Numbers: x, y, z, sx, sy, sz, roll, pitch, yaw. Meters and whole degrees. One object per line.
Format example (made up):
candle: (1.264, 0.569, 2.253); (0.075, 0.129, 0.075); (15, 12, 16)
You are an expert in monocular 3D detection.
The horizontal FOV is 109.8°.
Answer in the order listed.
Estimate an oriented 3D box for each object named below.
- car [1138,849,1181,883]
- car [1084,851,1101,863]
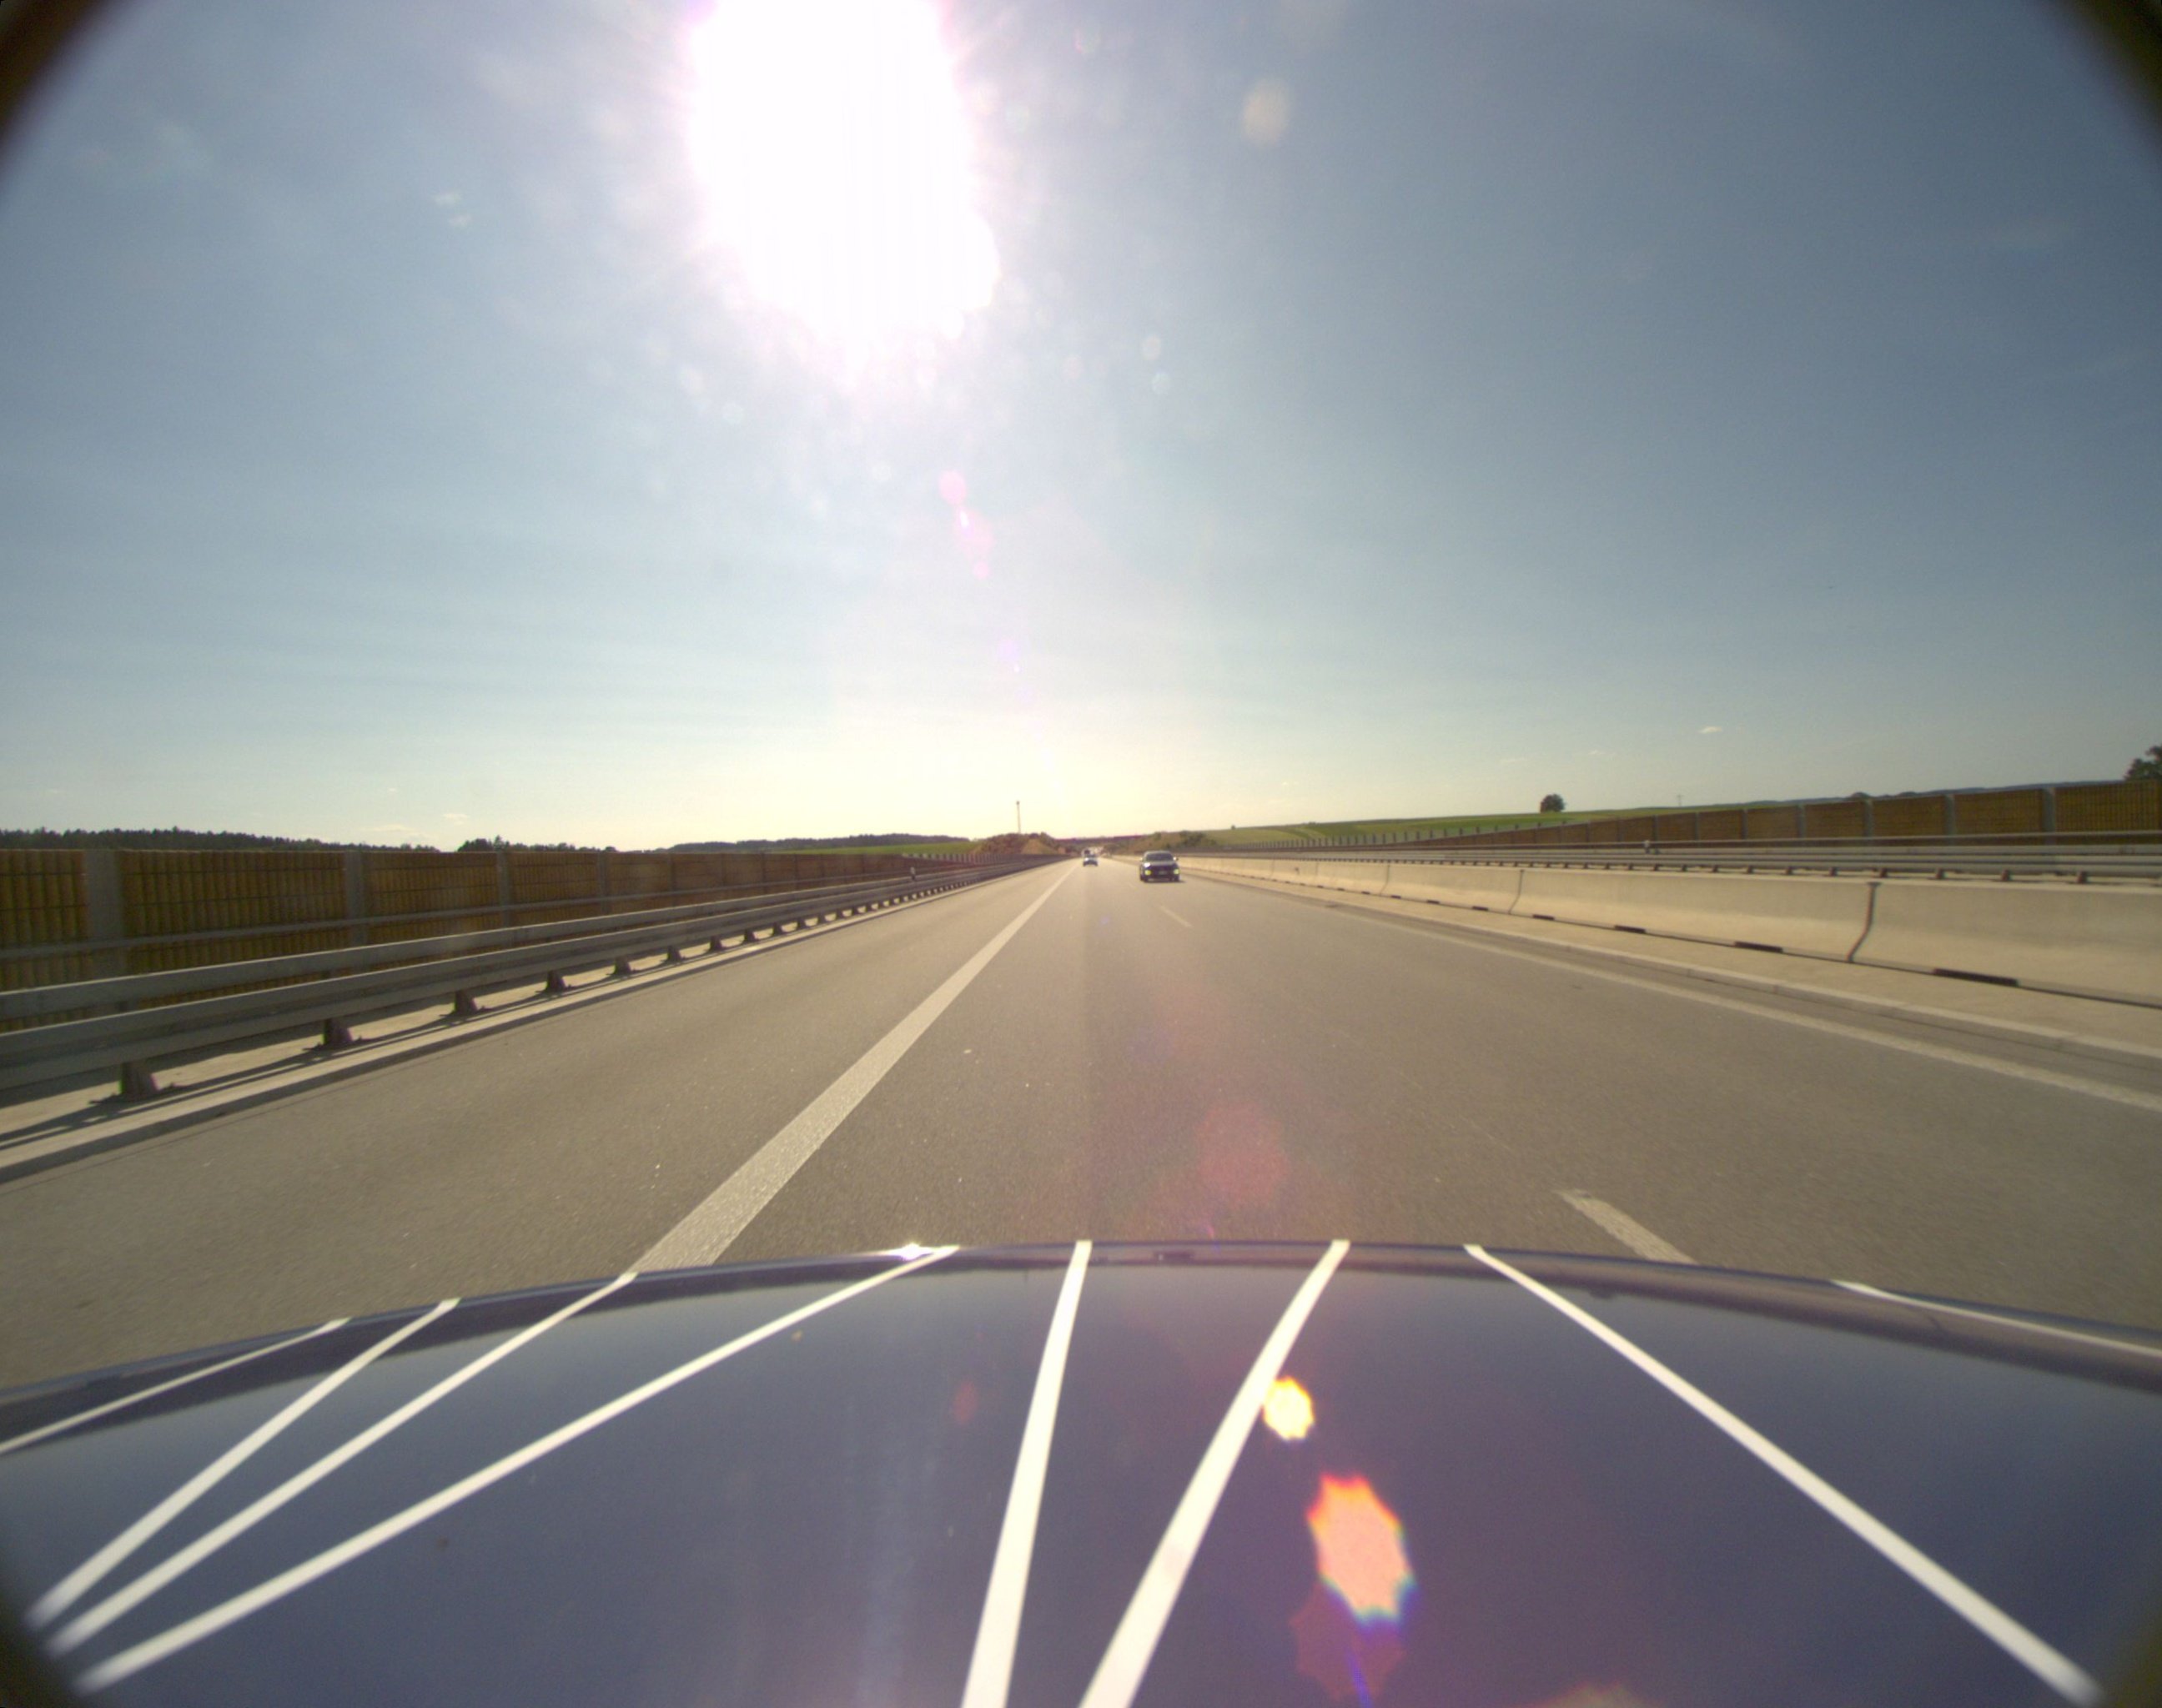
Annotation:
car: (4.035, 0.570, 39.801); (1.776, 1.560, 4.988); (-2, 1, 1)
car: (1.427, 0.358, 93.735); (1.909, 1.449, 4.375); (-2, 1, 2)
